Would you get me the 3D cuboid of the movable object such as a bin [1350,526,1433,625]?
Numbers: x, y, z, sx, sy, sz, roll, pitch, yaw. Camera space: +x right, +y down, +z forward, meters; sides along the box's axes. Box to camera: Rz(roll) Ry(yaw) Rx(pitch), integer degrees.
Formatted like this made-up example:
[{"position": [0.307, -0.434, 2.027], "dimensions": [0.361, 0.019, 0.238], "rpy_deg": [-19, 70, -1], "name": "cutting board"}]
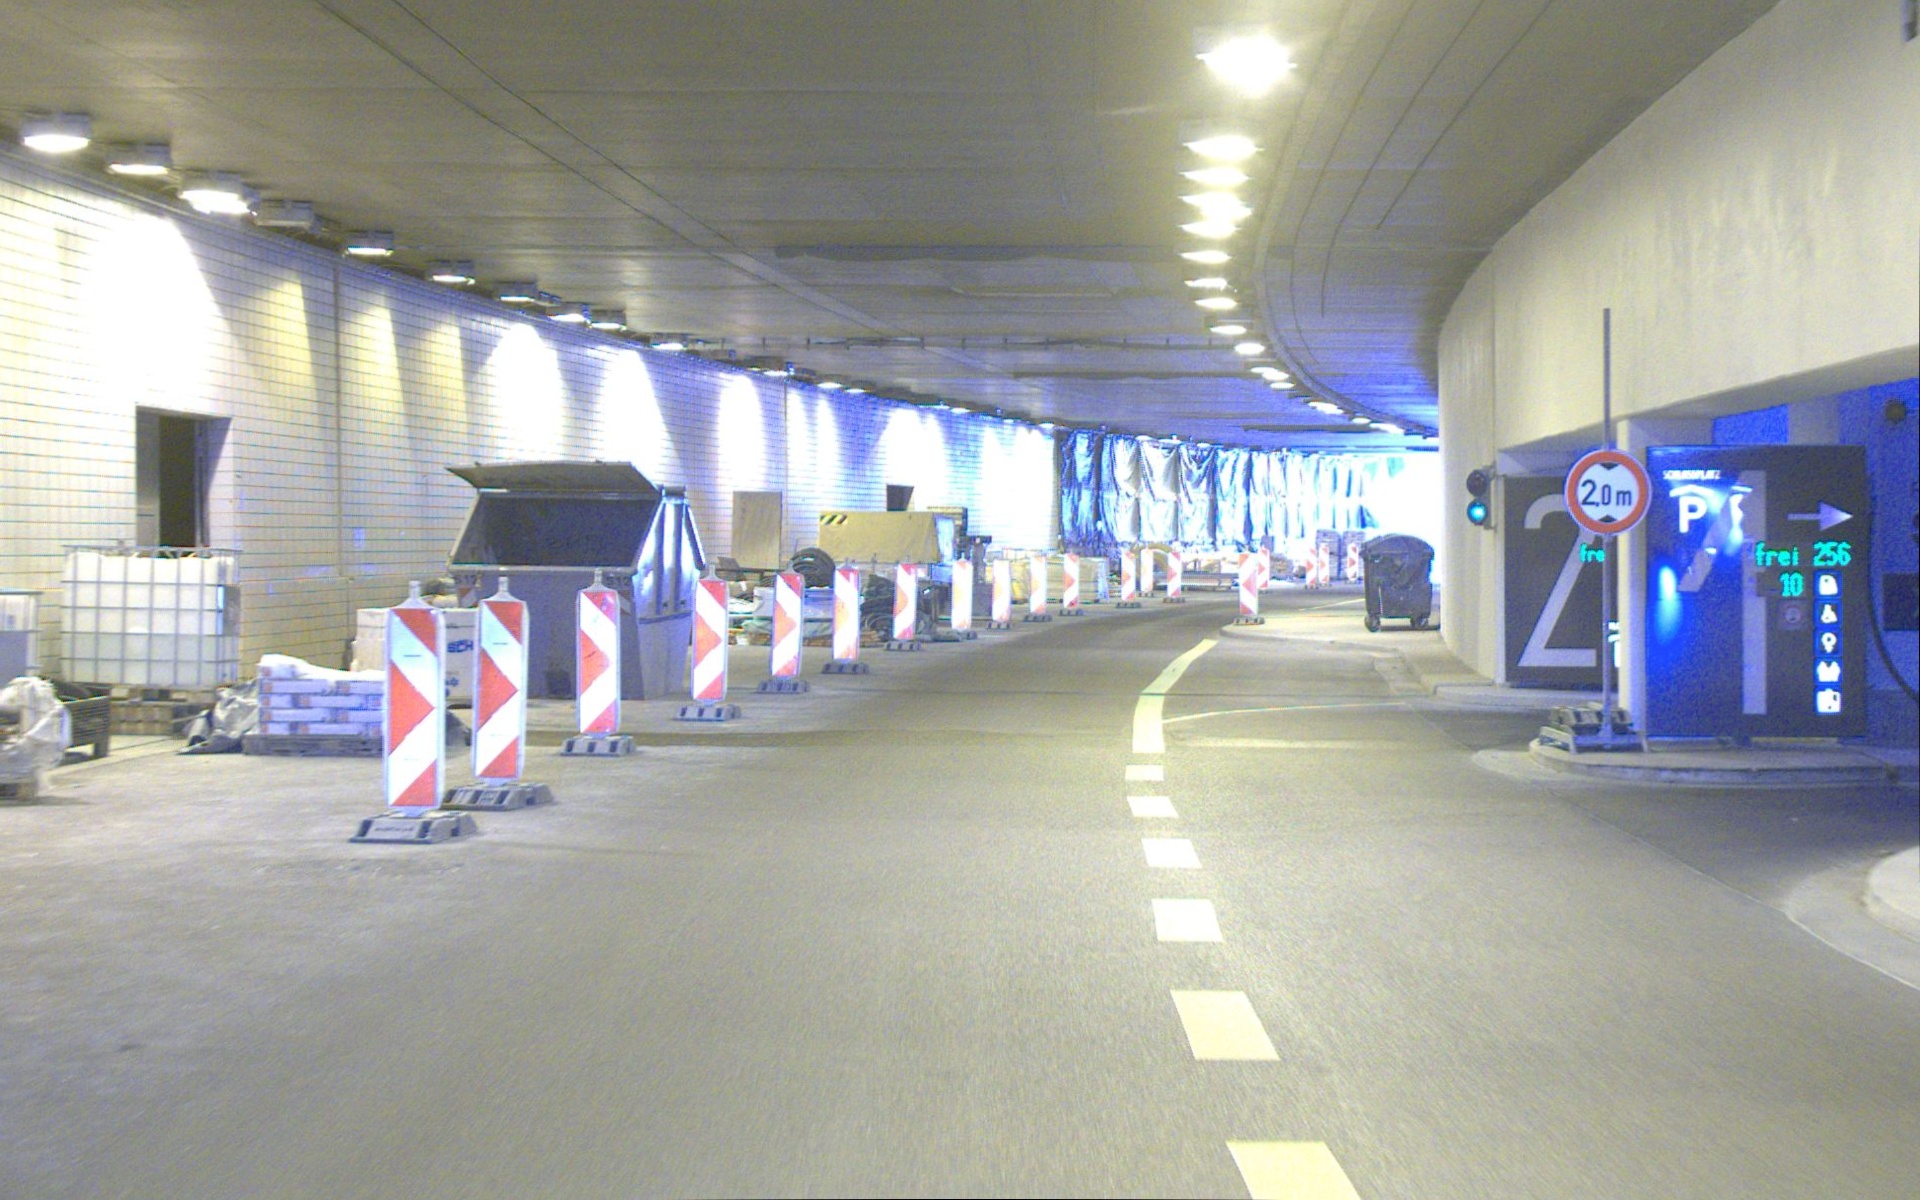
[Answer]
[{"position": [6.605, -0.375, 52.625], "dimensions": [1.195, 1.455, 1.605], "rpy_deg": [-2, 1, 7], "name": "movable object such as a bin"}]
